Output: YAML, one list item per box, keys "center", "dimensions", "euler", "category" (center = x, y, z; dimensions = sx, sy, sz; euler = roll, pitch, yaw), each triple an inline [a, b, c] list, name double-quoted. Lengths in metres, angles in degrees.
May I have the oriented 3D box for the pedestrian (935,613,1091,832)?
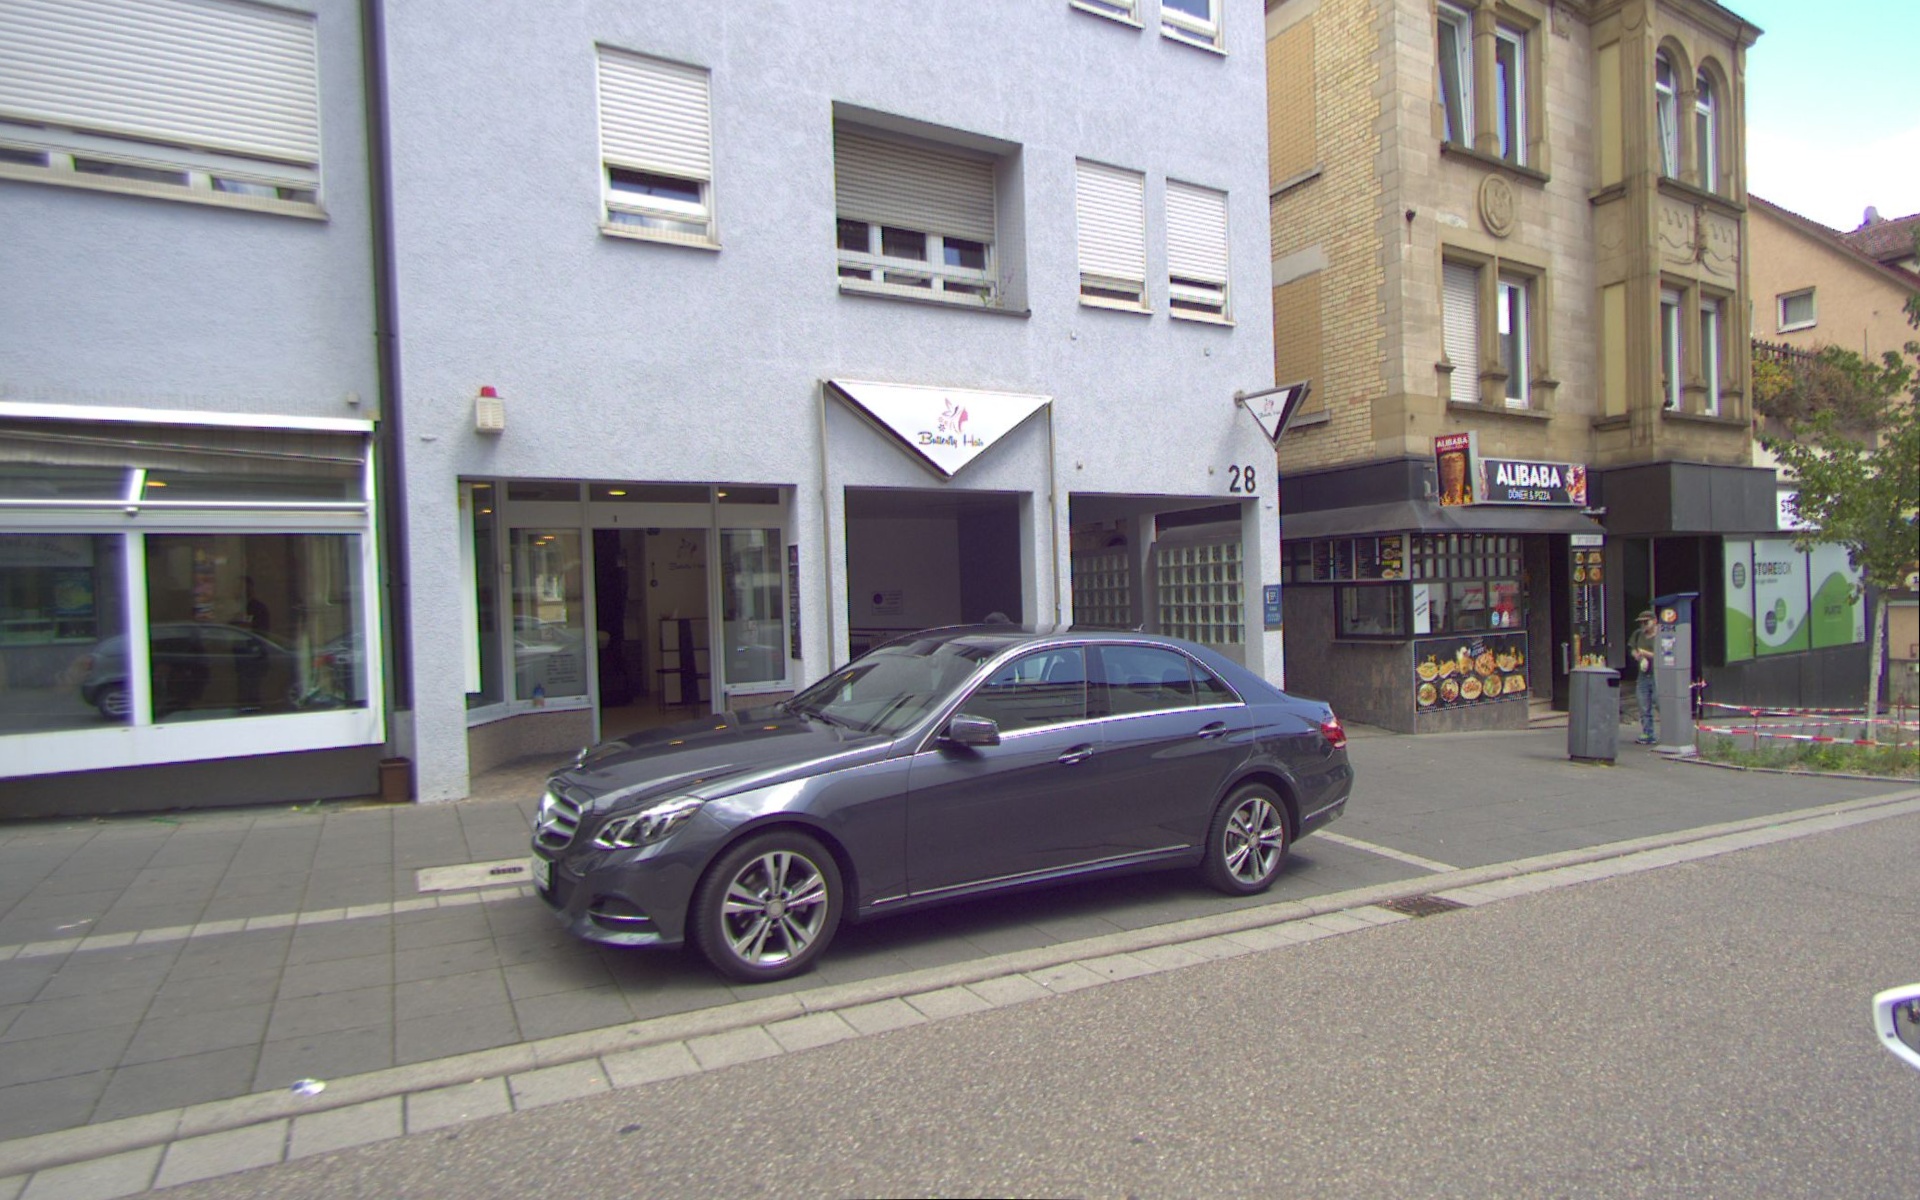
- center: [0.379, 0.862, 7.487]
  dimensions: [0.800, 1.483, 0.821]
  euler: [1, 1, -31]
  category: "pedestrian"

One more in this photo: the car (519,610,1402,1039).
- center: [0.192, 0.878, 5.779]
  dimensions: [4.788, 1.512, 1.916]
  euler: [1, 1, -32]
  category: "car"

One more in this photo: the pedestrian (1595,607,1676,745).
- center: [8.847, 0.976, 13.162]
  dimensions: [0.702, 1.736, 0.584]
  euler: [1, 1, -30]
  category: "pedestrian"
